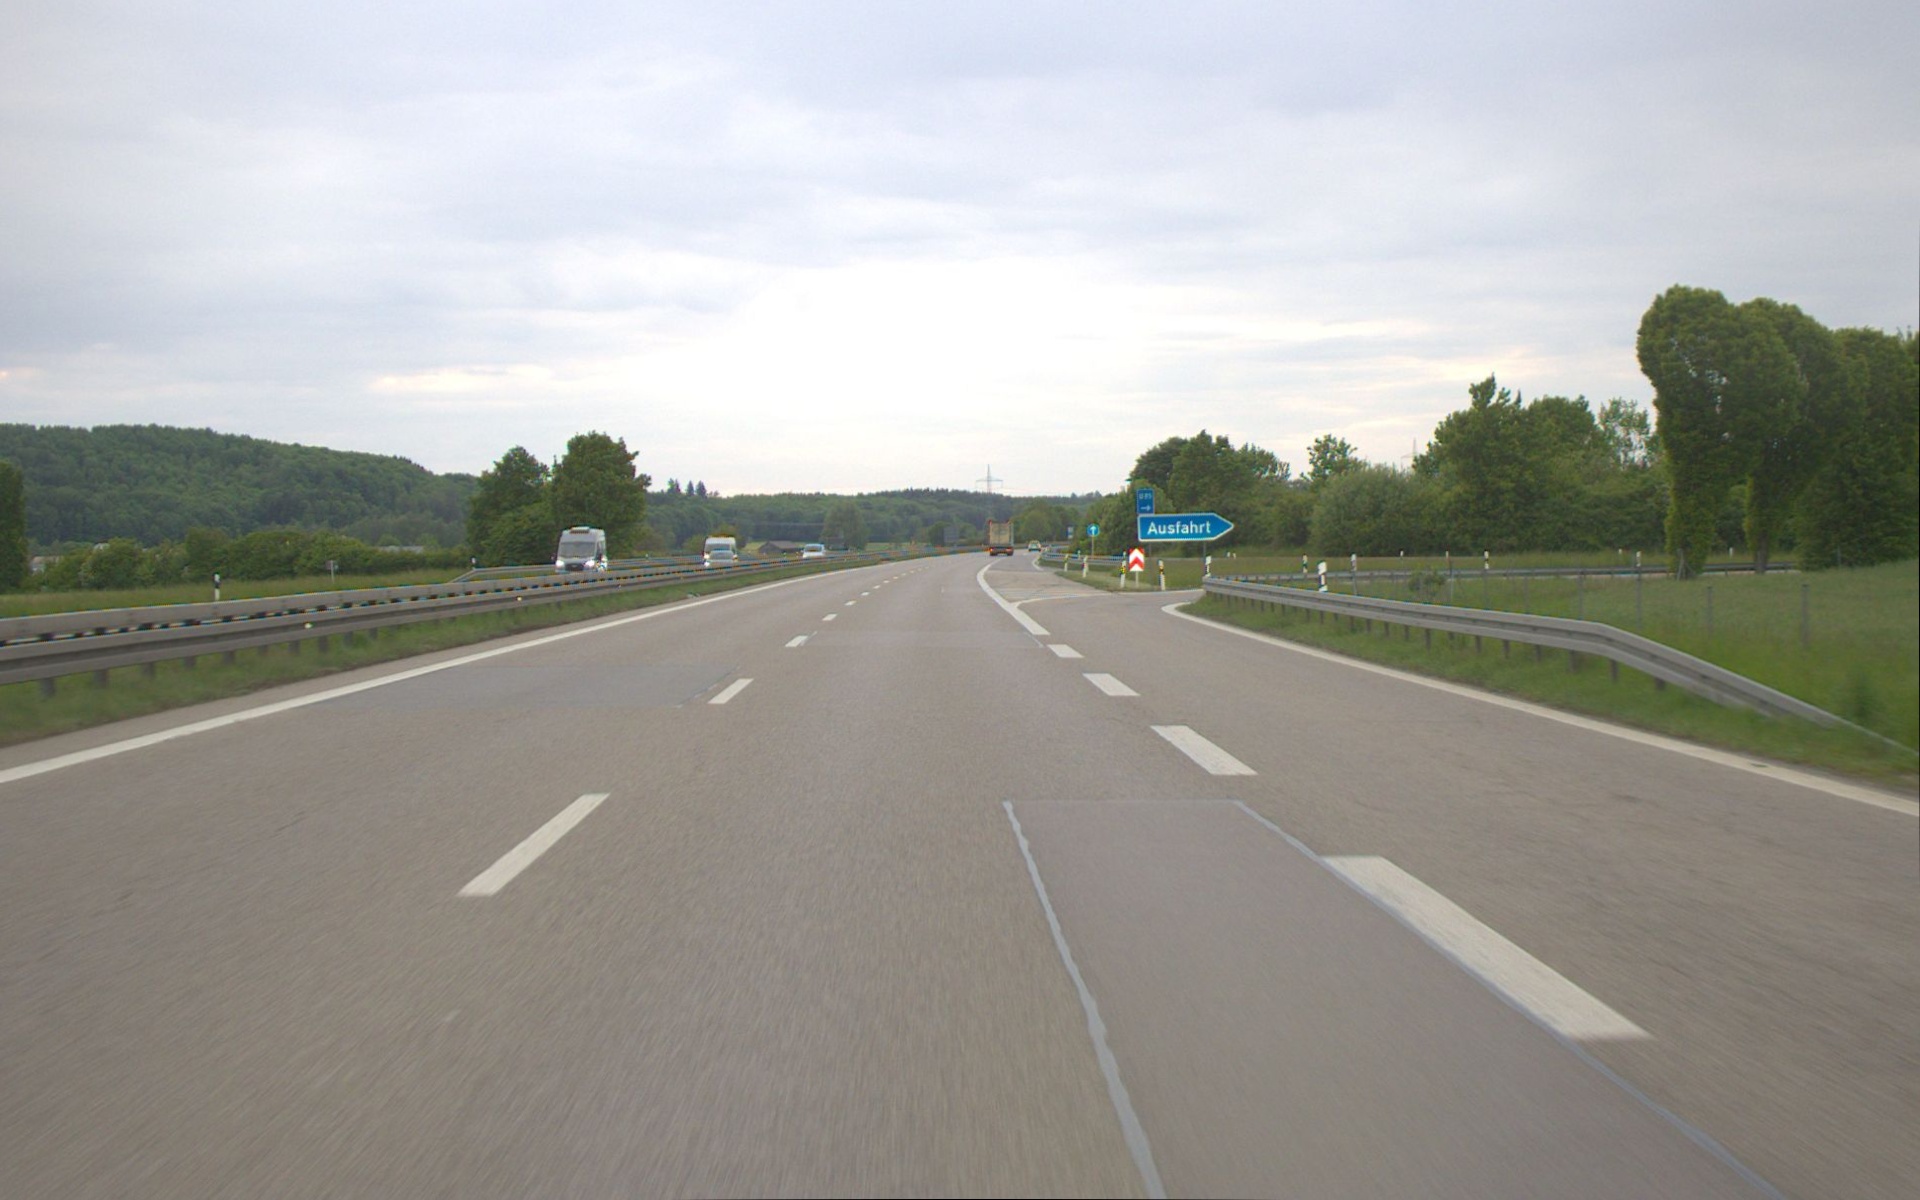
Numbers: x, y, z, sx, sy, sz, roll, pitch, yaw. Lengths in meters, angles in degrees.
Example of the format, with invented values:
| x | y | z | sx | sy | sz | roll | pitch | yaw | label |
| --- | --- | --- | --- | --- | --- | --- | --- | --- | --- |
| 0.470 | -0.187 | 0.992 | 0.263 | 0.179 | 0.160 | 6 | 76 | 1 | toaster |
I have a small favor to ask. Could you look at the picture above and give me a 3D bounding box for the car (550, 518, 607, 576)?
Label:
| x | y | z | sx | sy | sz | roll | pitch | yaw | label |
| --- | --- | --- | --- | --- | --- | --- | --- | --- | --- |
| -18.742 | -2.607 | 169.140 | 2.106 | 2.791 | 6.427 | 0 | 1 | 0 | car |
